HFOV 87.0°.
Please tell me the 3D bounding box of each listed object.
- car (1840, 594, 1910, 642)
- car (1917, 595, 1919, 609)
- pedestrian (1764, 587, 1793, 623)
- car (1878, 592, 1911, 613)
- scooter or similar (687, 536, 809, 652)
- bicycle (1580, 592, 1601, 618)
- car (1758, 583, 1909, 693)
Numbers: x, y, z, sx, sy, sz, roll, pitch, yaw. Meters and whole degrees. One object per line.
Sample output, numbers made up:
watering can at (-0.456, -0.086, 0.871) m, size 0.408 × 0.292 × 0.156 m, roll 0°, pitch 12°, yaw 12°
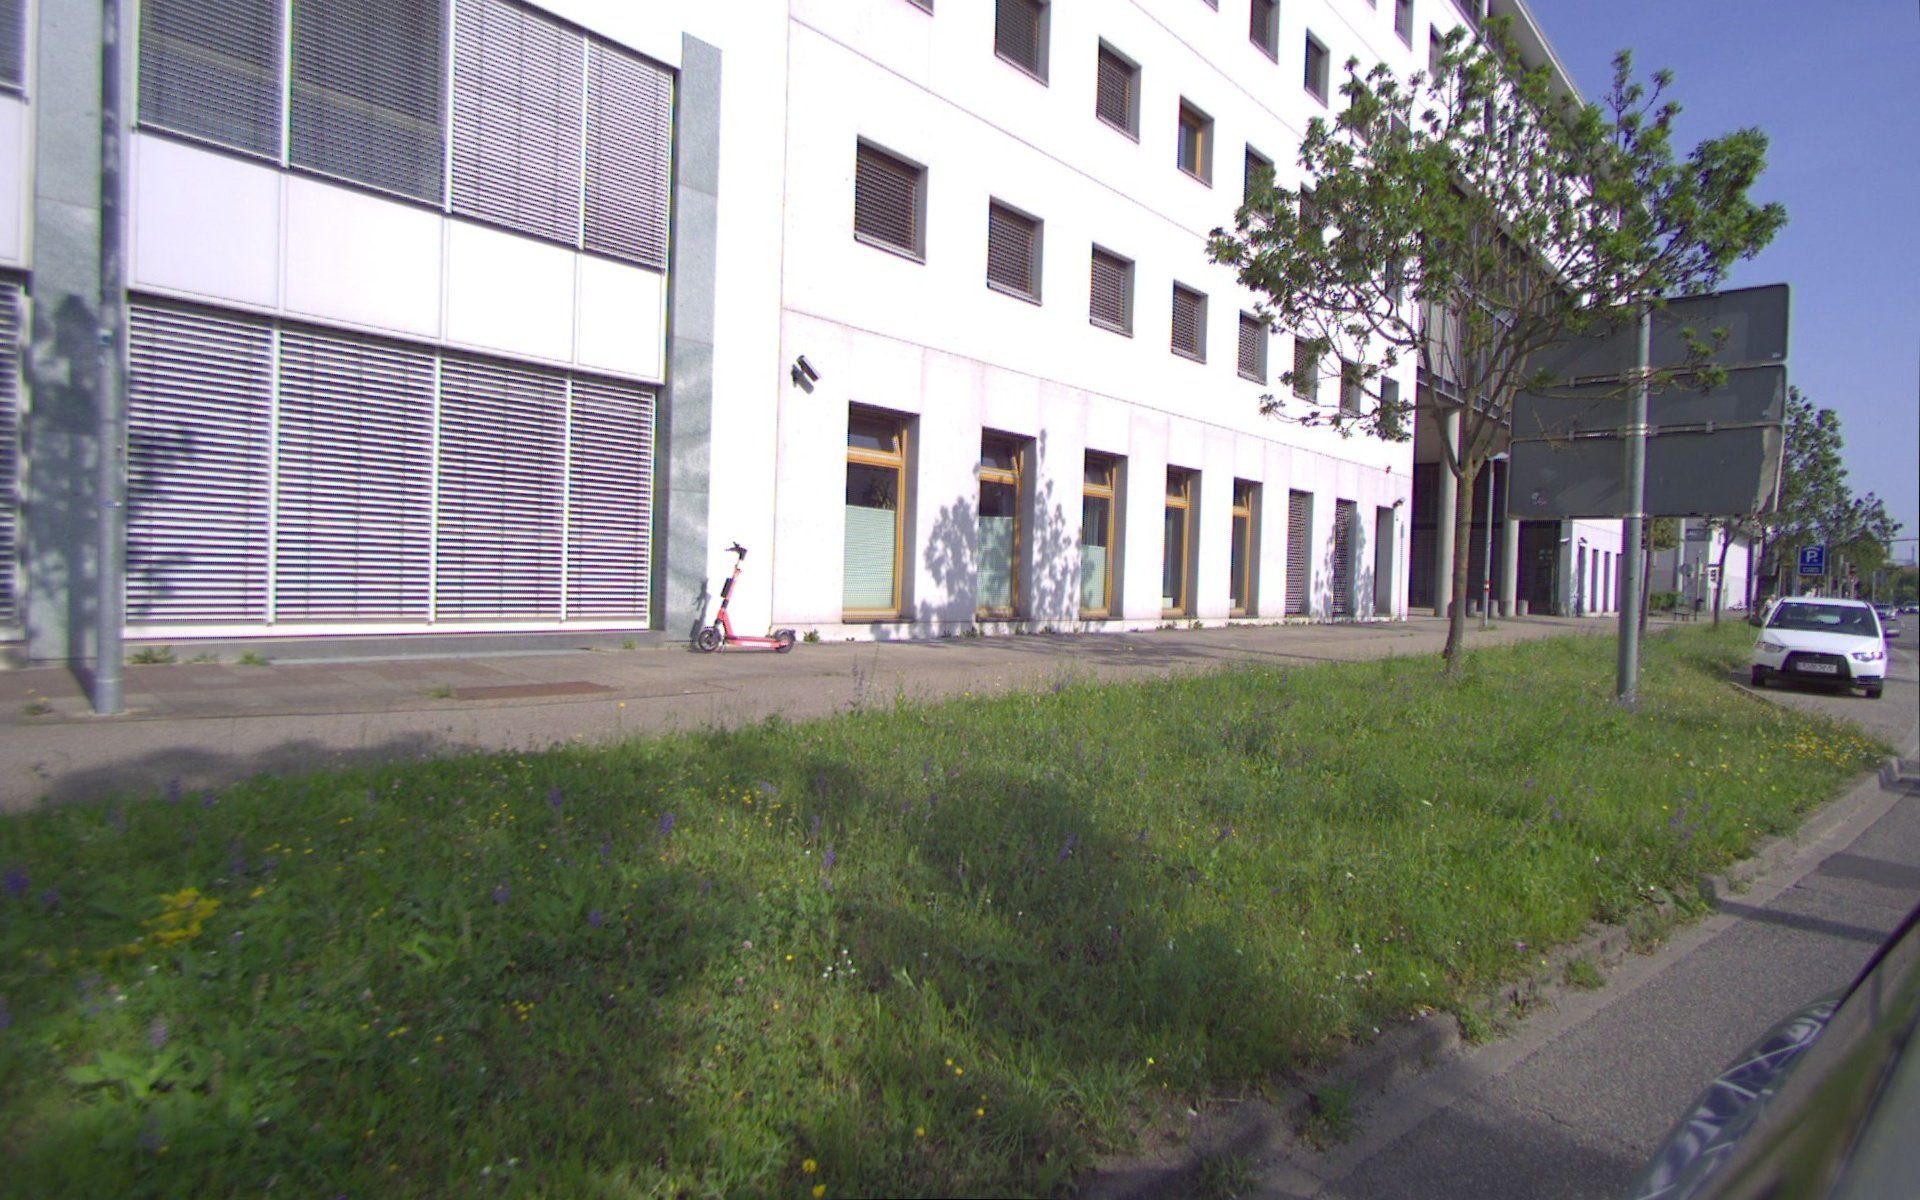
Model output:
car at (32.361, 0.604, 35.810) m, size 1.720 × 1.538 × 3.723 m, roll 2°, pitch 1°, yaw 42°
car at (116.972, 0.308, 122.215) m, size 1.994 × 1.682 × 3.937 m, roll 2°, pitch 2°, yaw 43°
pedestrian at (38.764, 0.224, 47.932) m, size 0.698 × 1.636 × 0.781 m, roll 1°, pitch 1°, yaw -19°
car at (79.021, 0.216, 85.588) m, size 1.994 × 1.682 × 3.937 m, roll 2°, pitch 2°, yaw 43°
scooter or similar at (-2.373, -0.069, 11.387) m, size 1.232 × 1.228 × 0.463 m, roll 1°, pitch 2°, yaw -41°
bicycle at (27.255, 0.212, 43.718) m, size 0.493 × 1.099 × 1.527 m, roll 4°, pitch 3°, yaw 40°
car at (14.712, 0.563, 17.032) m, size 1.689 × 1.545 × 3.791 m, roll 4°, pitch 3°, yaw 42°
